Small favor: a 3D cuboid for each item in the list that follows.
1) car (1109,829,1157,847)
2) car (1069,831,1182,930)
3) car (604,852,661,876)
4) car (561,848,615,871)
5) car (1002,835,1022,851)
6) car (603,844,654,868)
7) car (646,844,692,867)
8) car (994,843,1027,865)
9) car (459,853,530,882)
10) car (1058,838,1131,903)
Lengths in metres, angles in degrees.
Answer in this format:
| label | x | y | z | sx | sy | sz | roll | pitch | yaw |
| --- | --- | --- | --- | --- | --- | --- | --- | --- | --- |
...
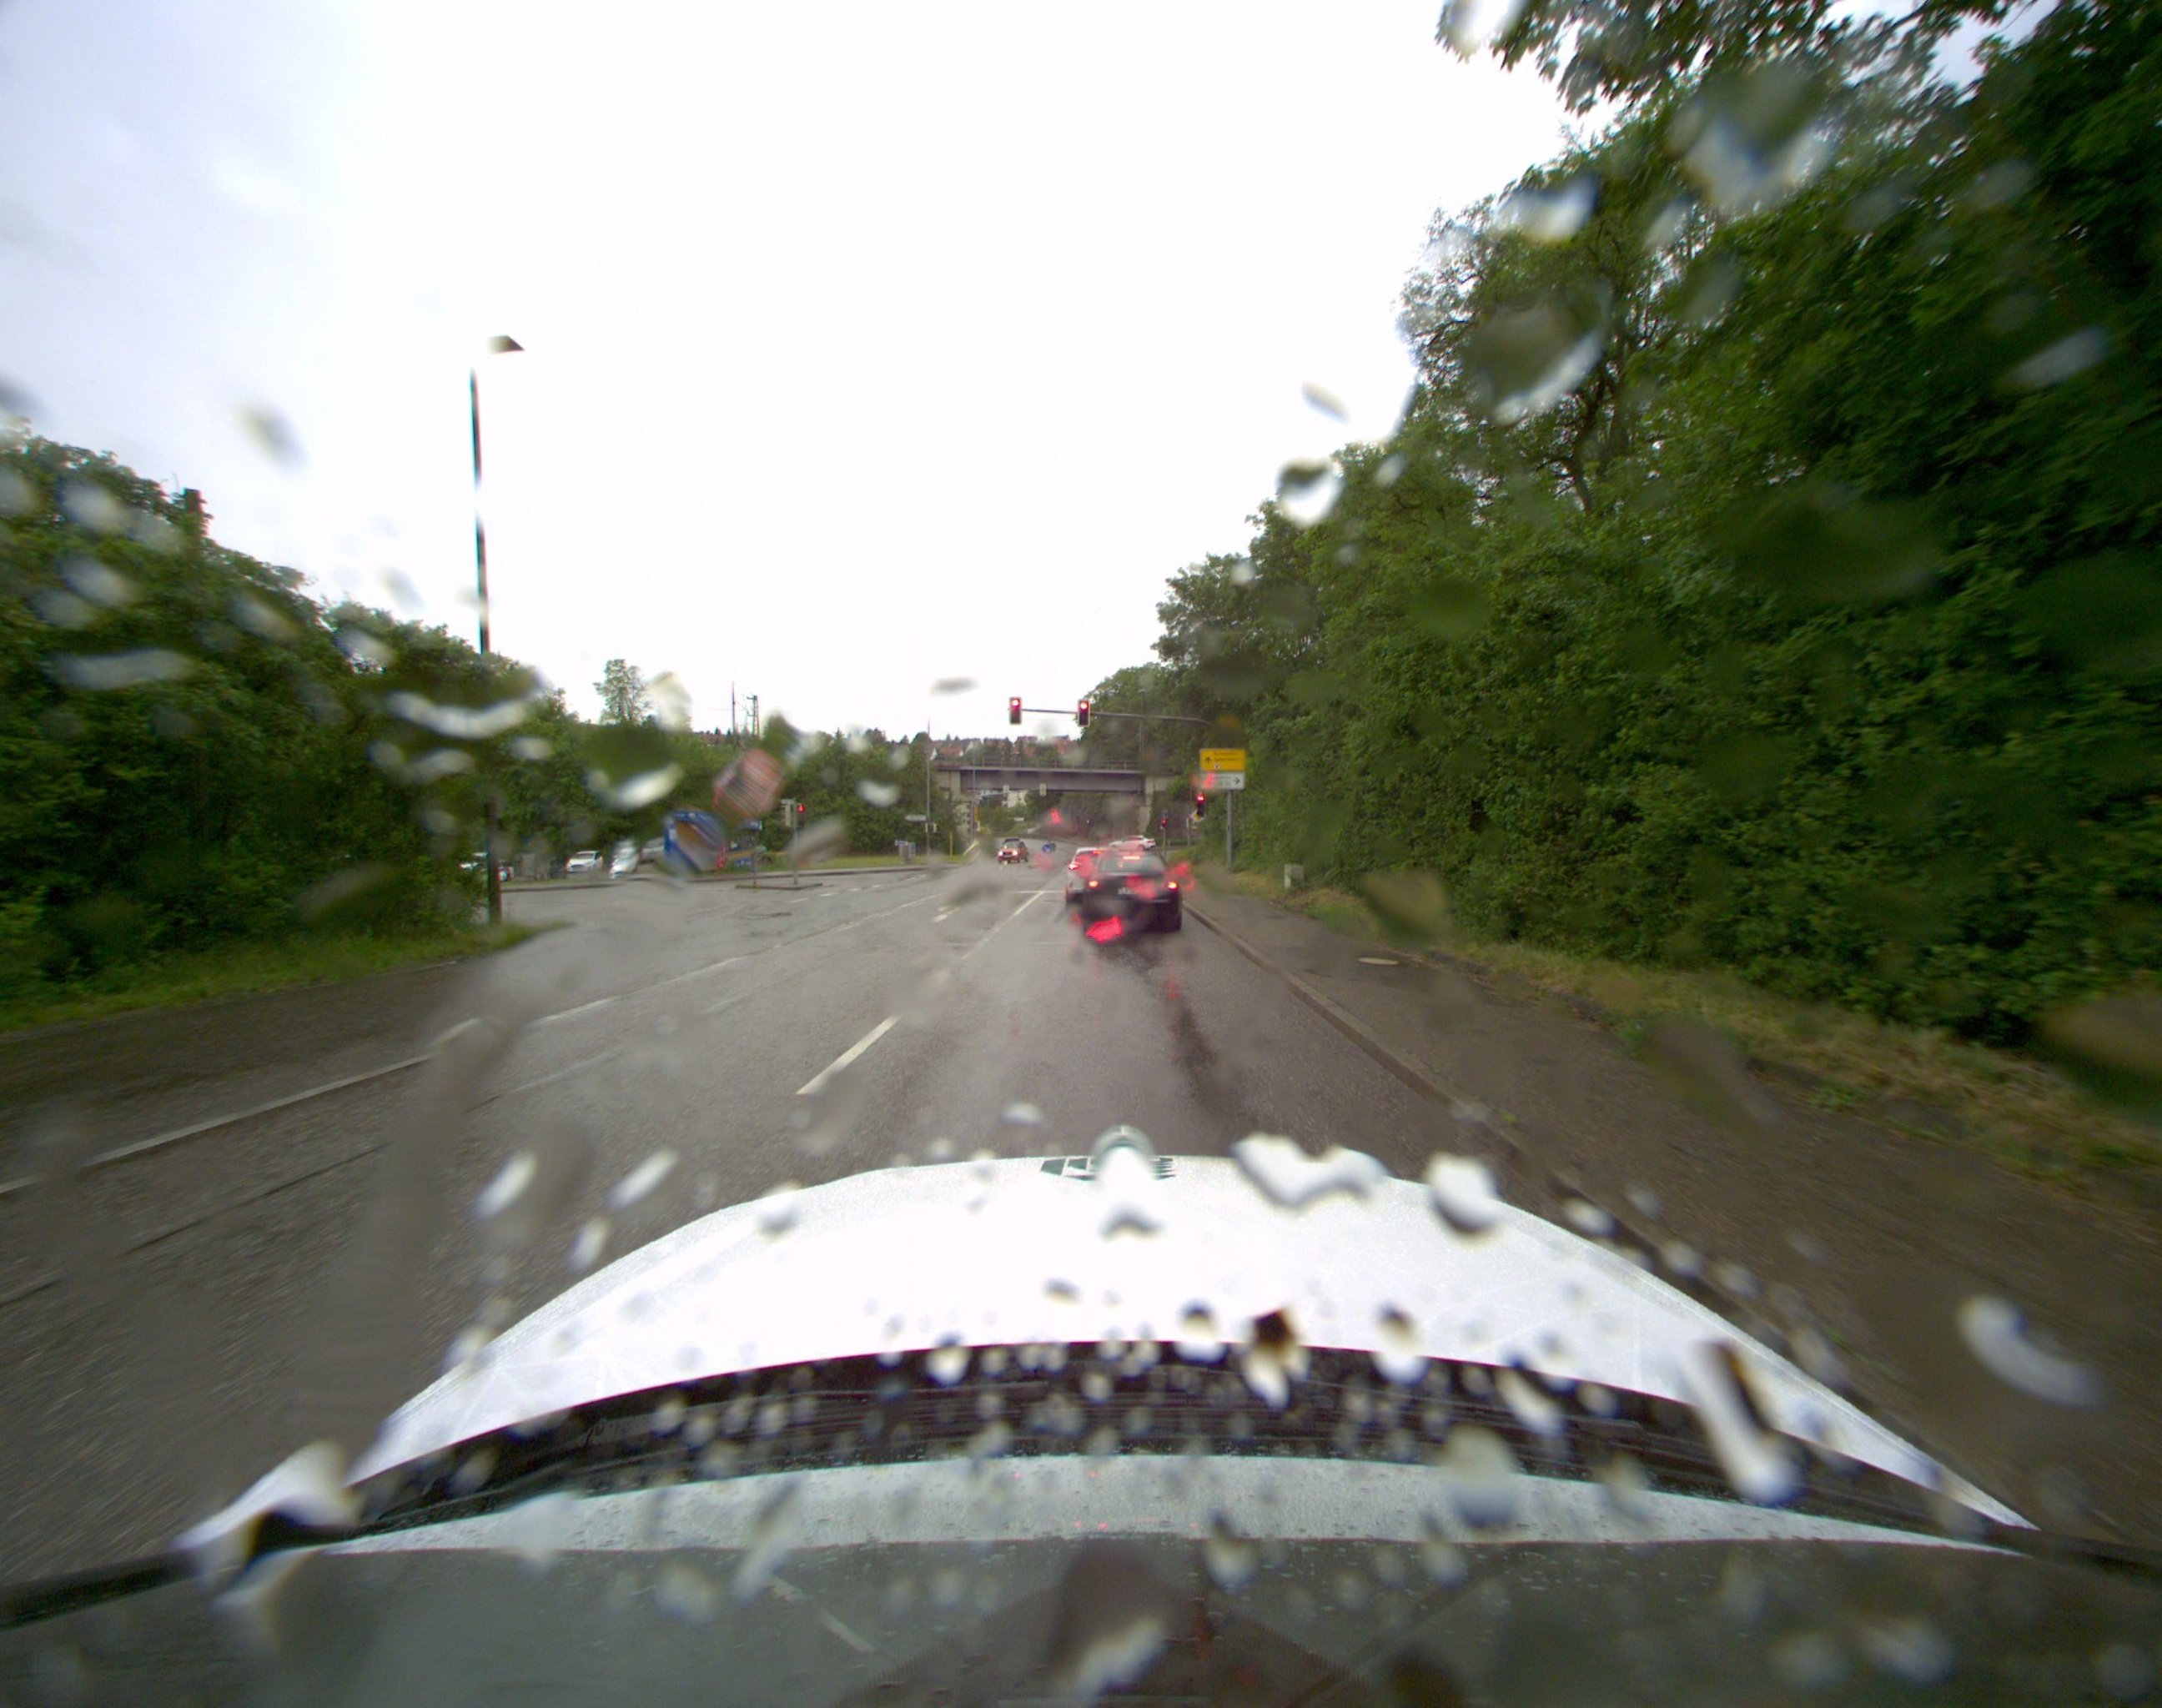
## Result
| label | x | y | z | sx | sy | sz | roll | pitch | yaw |
| --- | --- | --- | --- | --- | --- | --- | --- | --- | --- |
| car | 5.242 | -1.593 | 81.528 | 4.428 | 1.742 | 1.820 | -1 | 0 | 20 |
| car | 0.801 | 0.412 | 15.651 | 1.863 | 1.616 | 4.002 | -1 | 1 | 1 |
| car | -27.661 | 0.602 | 50.393 | 1.652 | 1.340 | 4.883 | -1 | 0 | -11 |
| car | -35.013 | 0.387 | 57.957 | 1.995 | 1.585 | 3.984 | -1 | 0 | -11 |
| car | -7.111 | -1.124 | 84.022 | 1.990 | 1.628 | 3.993 | -2 | 1 | -5 |
| car | -32.600 | 0.115 | 58.773 | 1.995 | 1.585 | 3.985 | -2 | 1 | -11 |
| car | -30.369 | 0.091 | 60.184 | 1.995 | 1.585 | 3.985 | -2 | 1 | -11 |
| car | -5.246 | 0.014 | 61.229 | 1.986 | 1.585 | 4.001 | -1 | 0 | 1 |
| car | -34.596 | 0.765 | 48.167 | 1.937 | 1.585 | 3.892 | -1 | 0 | -11 |
| car | 0.395 | 0.418 | 22.403 | 1.816 | 1.585 | 4.001 | -1 | 0 | 1 |
